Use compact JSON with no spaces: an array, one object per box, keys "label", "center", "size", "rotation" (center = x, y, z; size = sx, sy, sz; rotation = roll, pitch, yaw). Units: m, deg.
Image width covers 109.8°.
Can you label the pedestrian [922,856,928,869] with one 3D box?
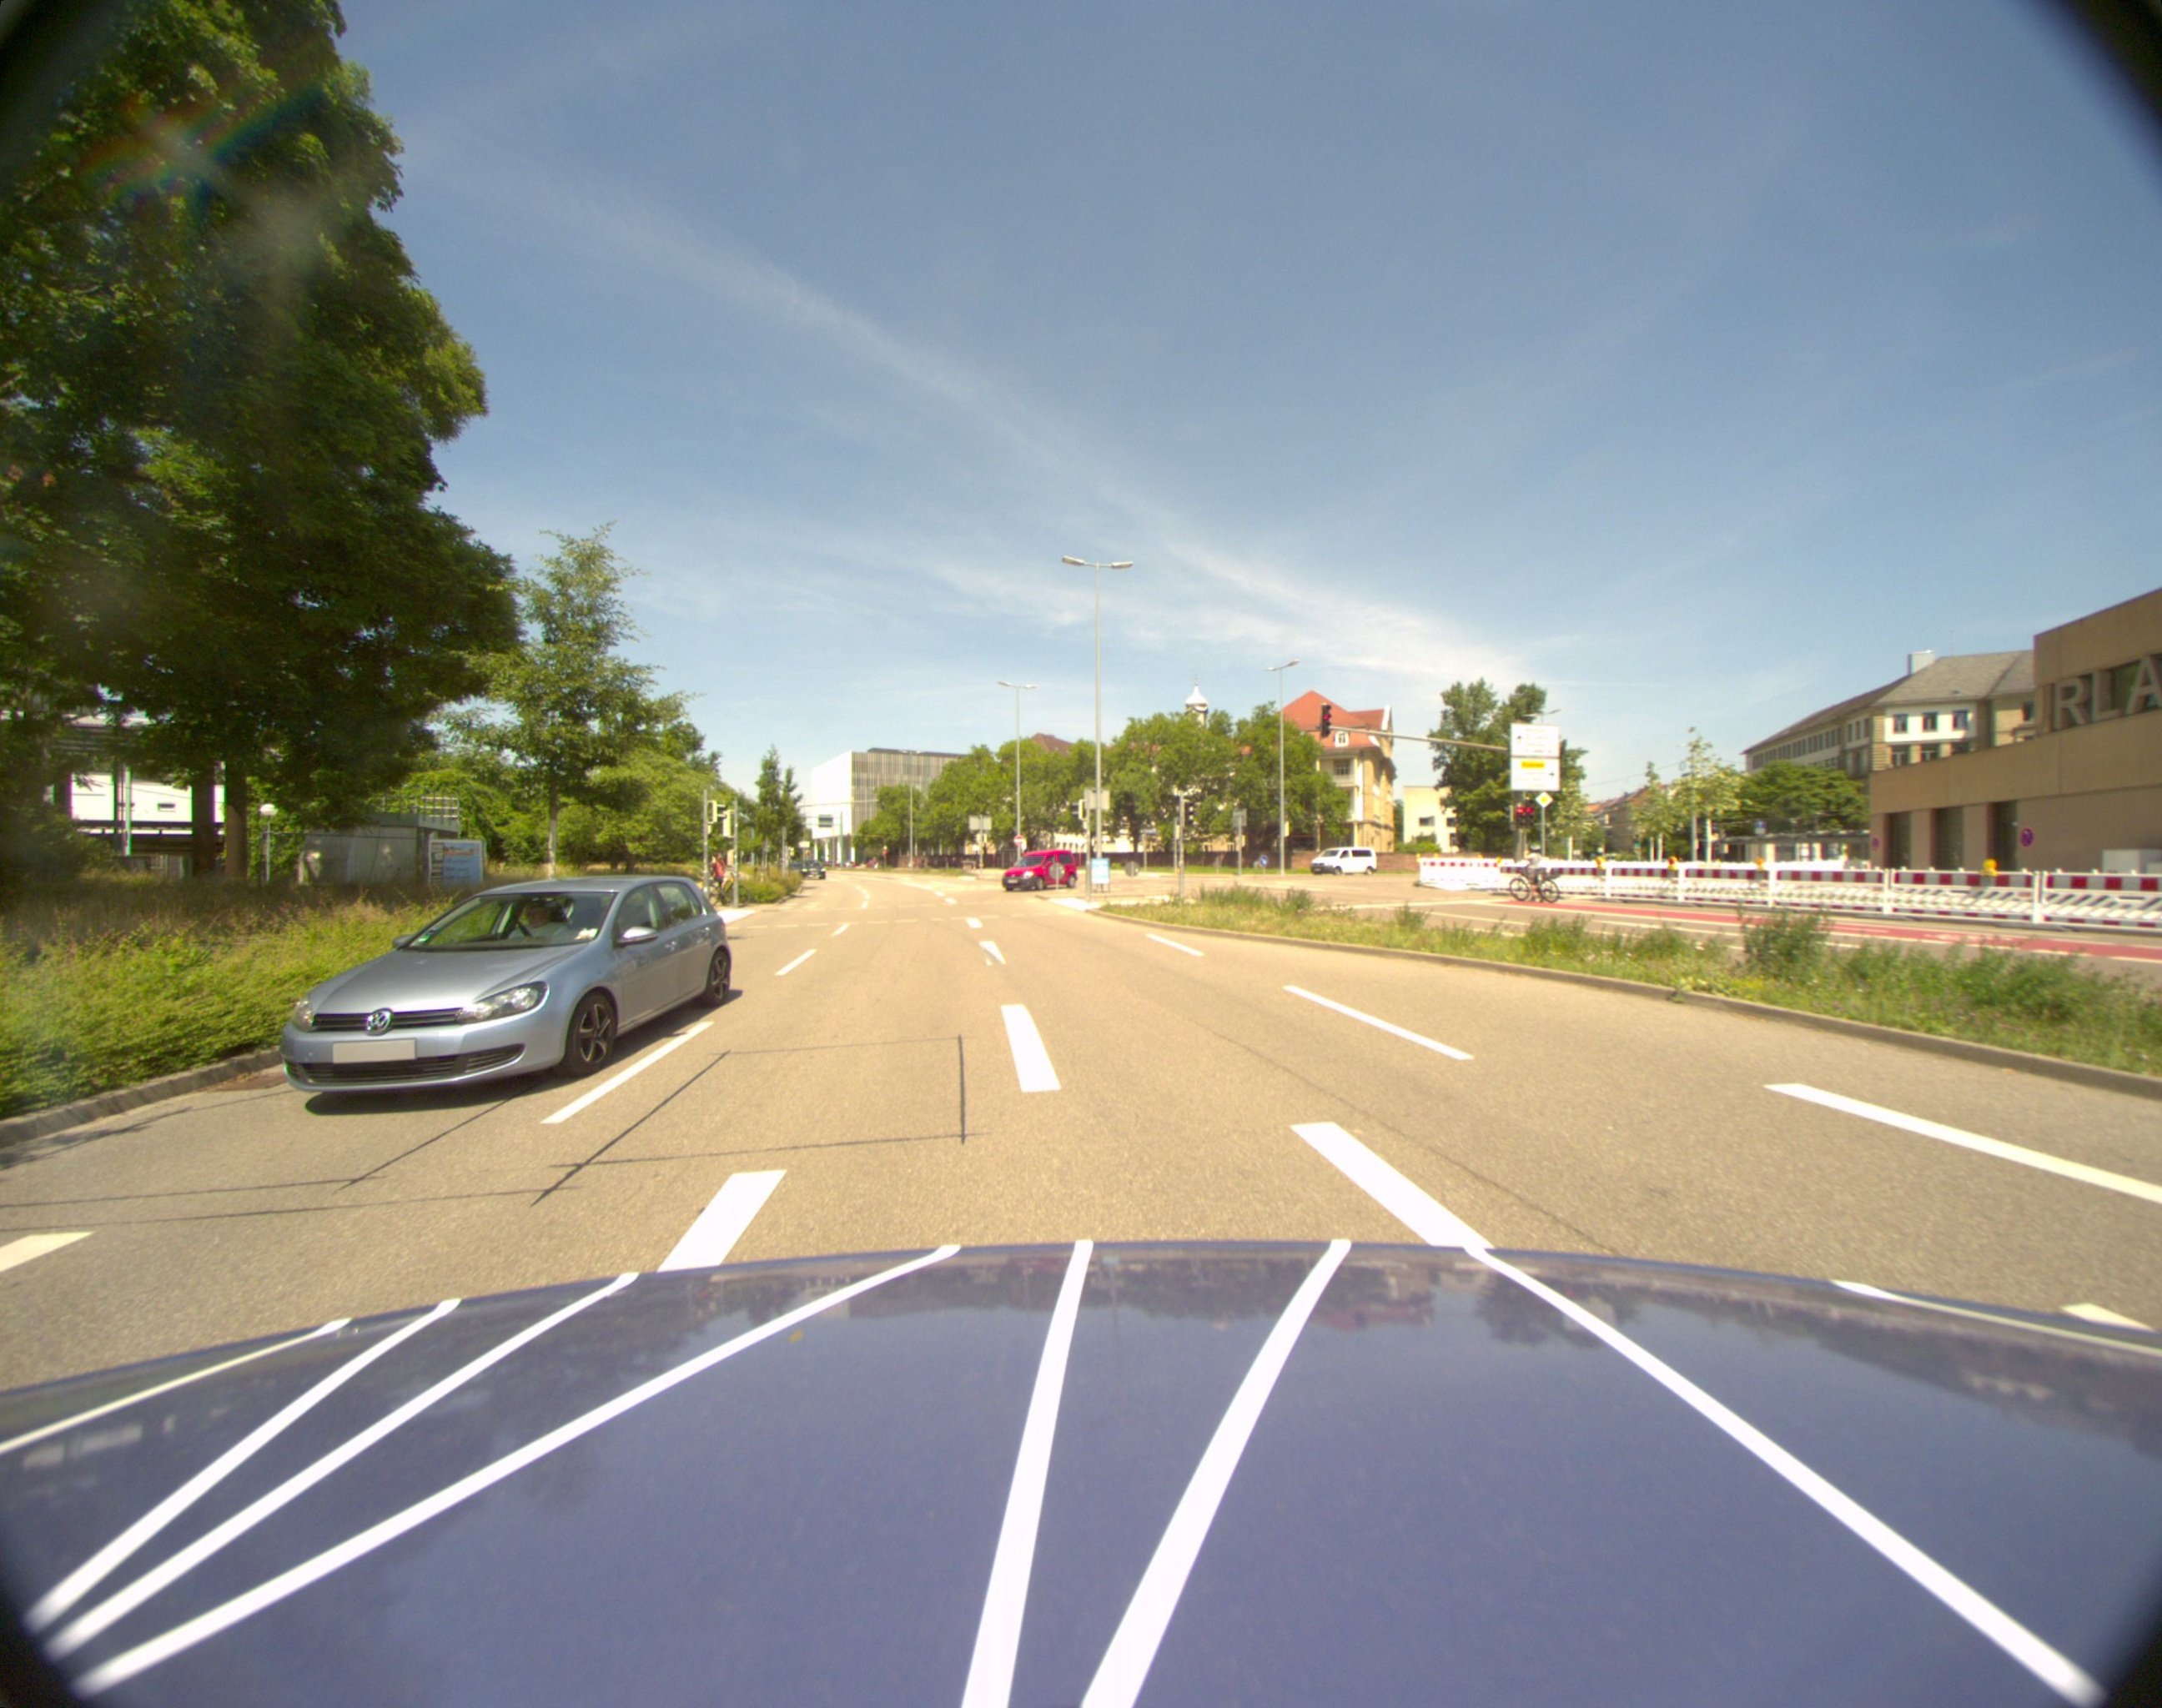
[{"label":"pedestrian","center":[-25.565,1.382,124.374],"size":[0.790,2.001,0.838],"rotation":[-1,-2,-29]}]

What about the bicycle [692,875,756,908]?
[{"label":"bicycle","center":[-11.817,1.238,25.153],"size":[1.993,1.039,0.559],"rotation":[0,-1,12]}]

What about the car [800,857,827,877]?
[{"label":"car","center":[-22.072,1.102,62.620],"size":[1.711,1.576,4.548],"rotation":[-1,-2,-23]}]

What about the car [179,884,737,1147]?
[{"label":"car","center":[-4.637,1.040,6.589],"size":[1.833,1.406,3.992],"rotation":[-1,0,-6]}]

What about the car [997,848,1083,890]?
[{"label":"car","center":[-1.786,0.697,34.642],"size":[1.829,1.755,4.288],"rotation":[-2,-2,30]}]

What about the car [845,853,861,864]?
[{"label":"car","center":[-37.615,0.730,125.328],"size":[1.784,1.673,3.993],"rotation":[-1,-2,-26]}]

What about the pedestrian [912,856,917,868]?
[{"label":"pedestrian","center":[-27.083,1.295,123.500],"size":[0.550,2.001,0.535],"rotation":[-1,-2,-28]}]

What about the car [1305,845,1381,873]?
[{"label":"car","center":[17.531,0.331,50.759],"size":[5.039,1.784,1.928],"rotation":[-1,0,-29]}]

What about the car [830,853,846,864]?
[{"label":"car","center":[-39.736,0.698,124.099],"size":[1.781,1.658,3.992],"rotation":[0,-2,-28]}]

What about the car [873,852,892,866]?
[{"label":"car","center":[-31.151,0.770,119.322],"size":[2.003,2.001,4.206],"rotation":[0,-2,-28]}]

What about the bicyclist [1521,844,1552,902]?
[{"label":"bicyclist","center":[12.609,0.518,21.046],"size":[0.531,1.570,0.498],"rotation":[-1,1,-12]}]

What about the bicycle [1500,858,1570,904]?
[{"label":"bicycle","center":[12.587,0.725,21.136],"size":[0.524,1.174,1.896],"rotation":[-1,1,-12]}]

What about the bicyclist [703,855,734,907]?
[{"label":"bicyclist","center":[-12.008,0.892,25.196],"size":[0.702,1.705,0.552],"rotation":[0,-1,11]}]

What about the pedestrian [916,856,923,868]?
[{"label":"pedestrian","center":[-26.383,1.337,124.050],"size":[0.790,2.001,0.962],"rotation":[-1,-2,-29]}]
